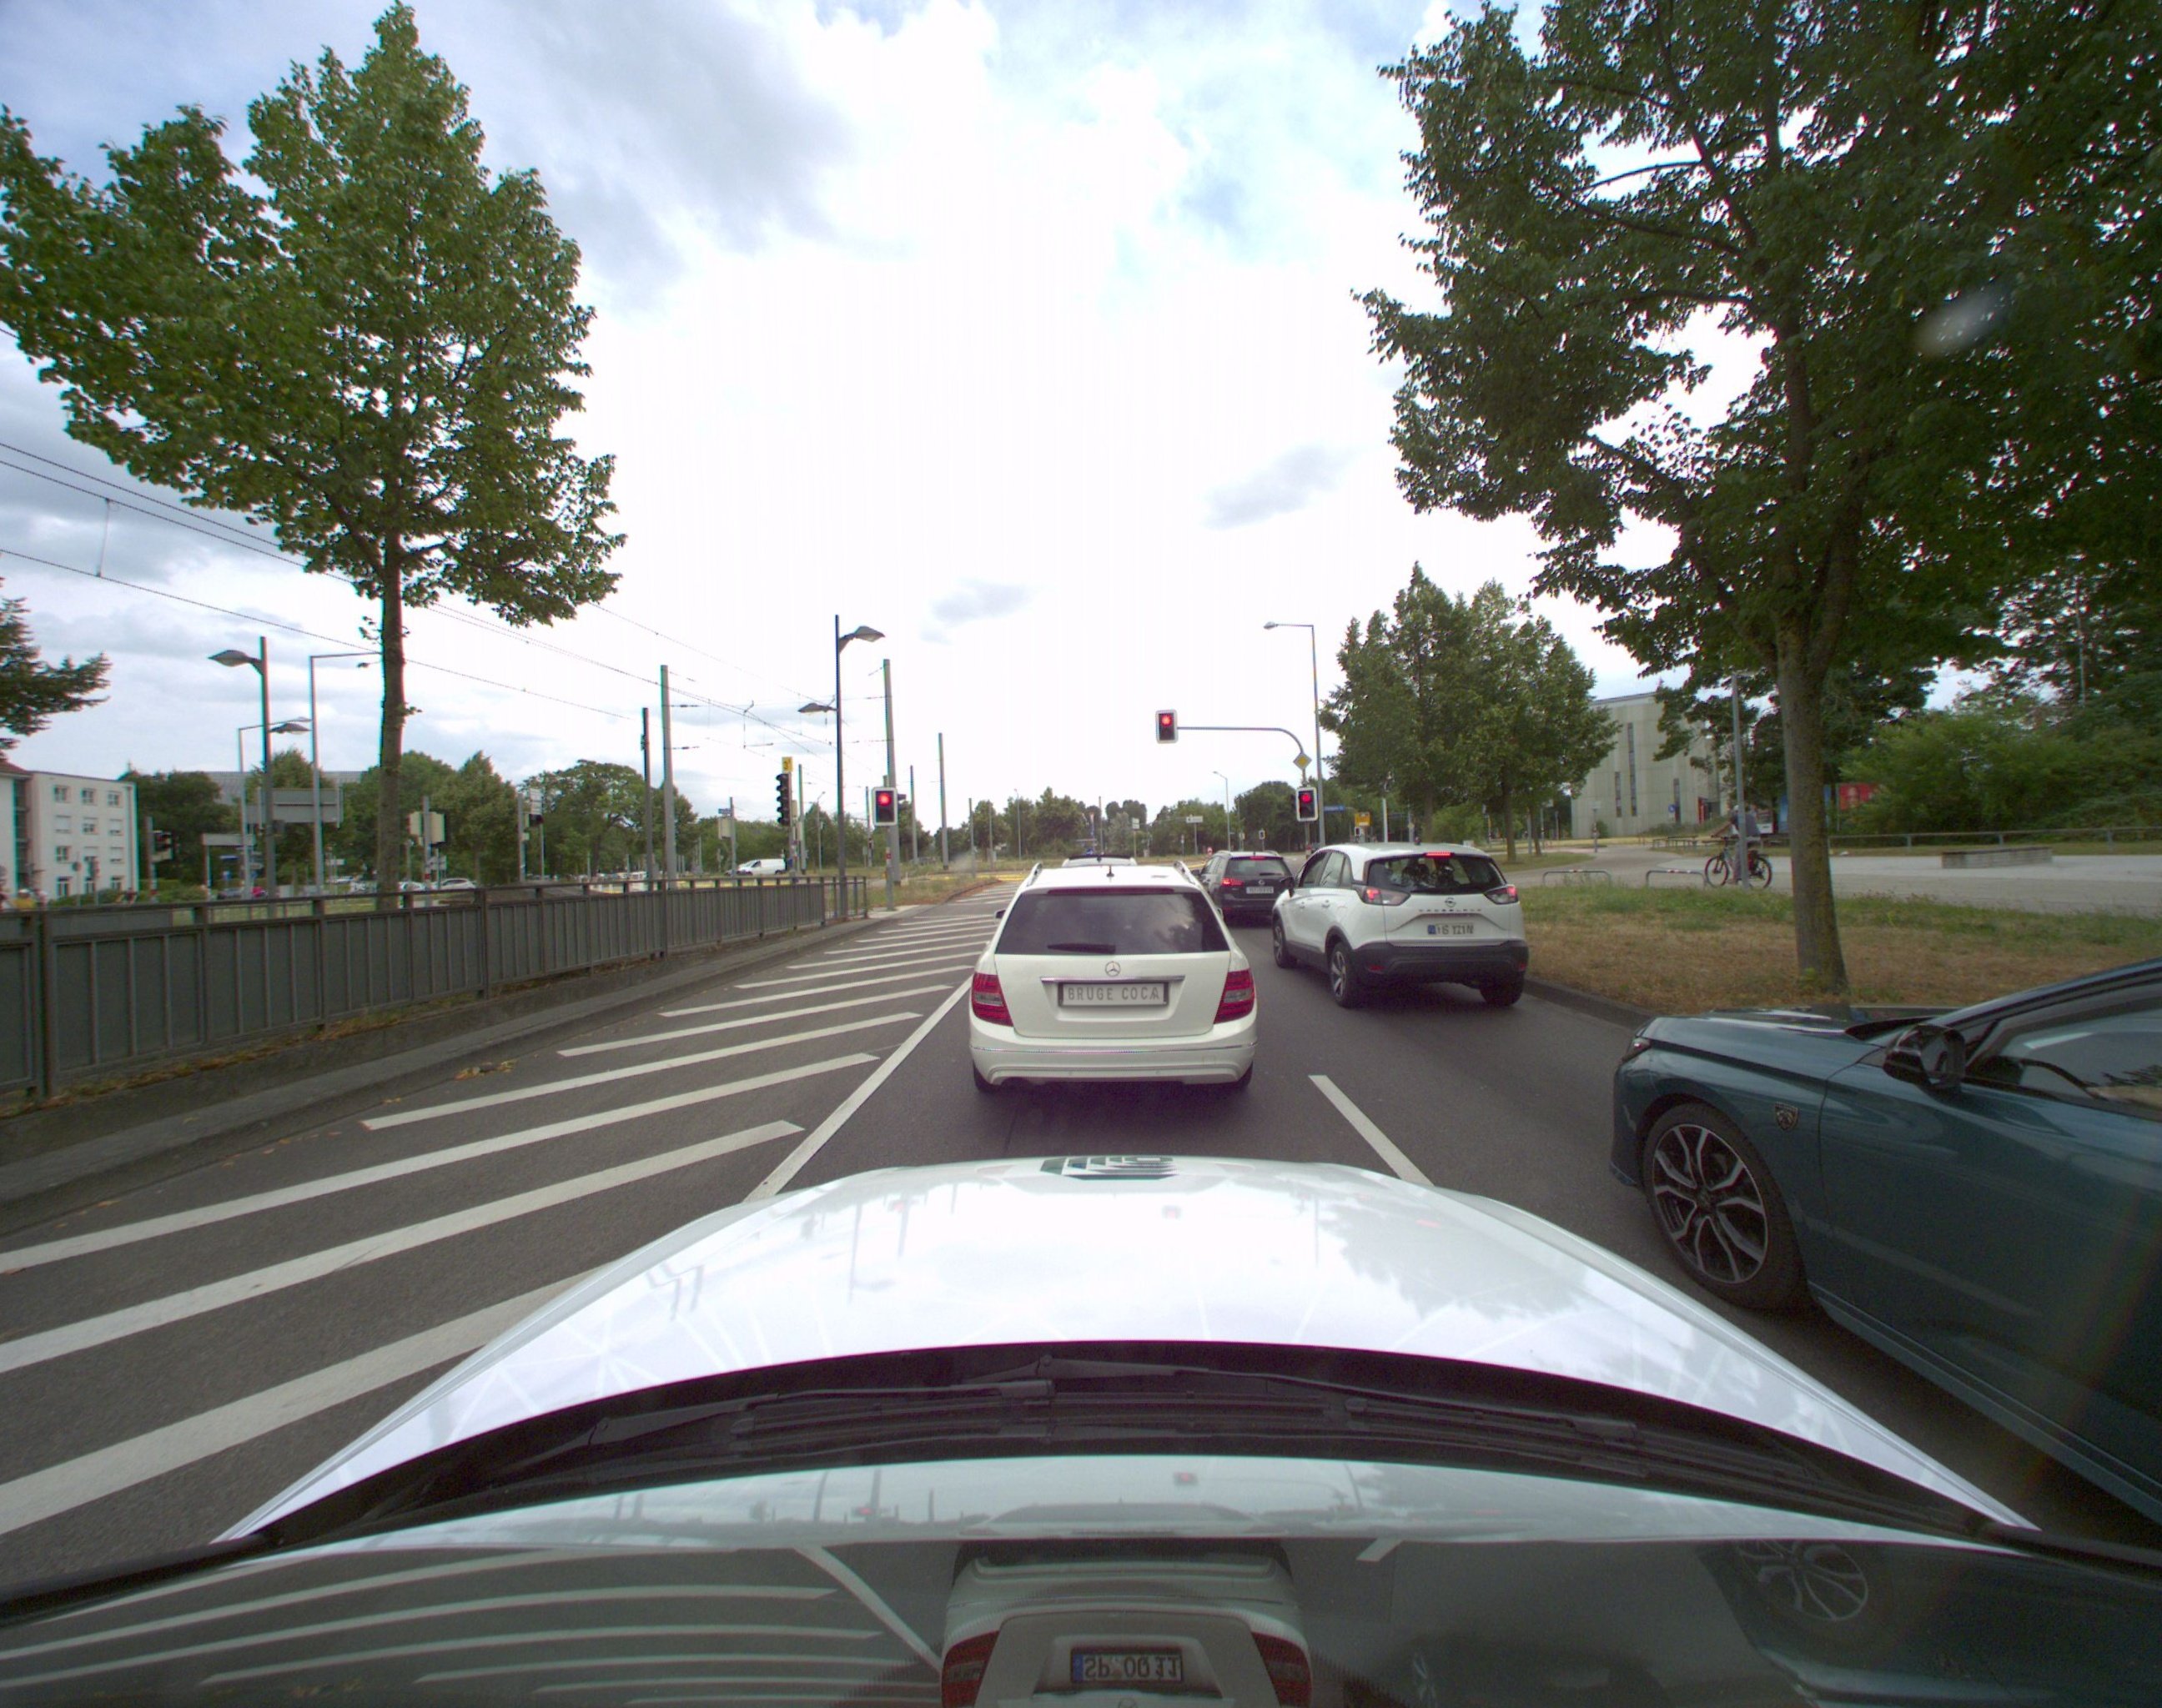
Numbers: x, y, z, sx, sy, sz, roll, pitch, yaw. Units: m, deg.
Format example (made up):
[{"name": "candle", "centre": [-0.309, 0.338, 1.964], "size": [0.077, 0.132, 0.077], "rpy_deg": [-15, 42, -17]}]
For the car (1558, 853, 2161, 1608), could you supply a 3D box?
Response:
[{"name": "car", "centre": [2.990, 0.739, 1.367], "size": [1.782, 1.432, 4.308], "rpy_deg": [-1, 0, -1]}]

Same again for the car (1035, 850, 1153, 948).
[{"name": "car", "centre": [0.204, 0.674, 14.276], "size": [1.768, 1.448, 3.910], "rpy_deg": [-1, 0, 0]}]

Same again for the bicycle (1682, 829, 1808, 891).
[{"name": "bicycle", "centre": [14.470, 0.119, 17.860], "size": [0.899, 1.235, 2.268], "rpy_deg": [-2, 0, 0]}]

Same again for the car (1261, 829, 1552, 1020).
[{"name": "car", "centre": [3.305, 0.614, 9.157], "size": [1.780, 1.624, 3.912], "rpy_deg": [-2, 0, 2]}]

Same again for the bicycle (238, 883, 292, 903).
[{"name": "bicycle", "centre": [-52.976, 2.520, 52.922], "size": [0.804, 1.129, 2.707], "rpy_deg": [-2, 0, -1]}]

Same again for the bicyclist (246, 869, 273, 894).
[{"name": "bicyclist", "centre": [-53.036, 1.756, 52.562], "size": [0.886, 1.562, 0.750], "rpy_deg": [-2, 0, -2]}]

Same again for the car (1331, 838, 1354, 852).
[{"name": "car", "centre": [31.719, -1.090, 98.759], "size": [1.766, 1.636, 4.429], "rpy_deg": [-2, 0, 28]}]

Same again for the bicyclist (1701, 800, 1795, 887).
[{"name": "bicyclist", "centre": [14.432, -0.225, 17.658], "size": [0.993, 1.737, 1.129], "rpy_deg": [-5, 0, 0]}]

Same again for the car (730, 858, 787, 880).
[{"name": "car", "centre": [-32.867, 1.511, 83.146], "size": [1.974, 2.013, 5.032], "rpy_deg": [-2, 0, 39]}]

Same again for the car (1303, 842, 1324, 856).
[{"name": "car", "centre": [30.731, -0.695, 107.573], "size": [1.975, 1.791, 4.024], "rpy_deg": [0, 0, 28]}]

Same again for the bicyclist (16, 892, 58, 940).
[{"name": "bicyclist", "centre": [-42.844, 2.531, 33.438], "size": [0.835, 1.834, 0.775], "rpy_deg": [-2, 0, -36]}]

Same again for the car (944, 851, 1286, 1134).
[{"name": "car", "centre": [0.181, 0.710, 6.198], "size": [1.768, 1.448, 3.910], "rpy_deg": [-1, 0, 0]}]

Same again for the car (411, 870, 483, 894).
[{"name": "car", "centre": [-50.024, 2.217, 64.339], "size": [1.974, 1.641, 4.026], "rpy_deg": [-2, 0, 33]}]

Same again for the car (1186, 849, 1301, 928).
[{"name": "car", "centre": [3.295, 0.635, 17.197], "size": [1.619, 1.448, 3.910], "rpy_deg": [-1, 0, 0]}]

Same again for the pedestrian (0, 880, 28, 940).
[{"name": "pedestrian", "centre": [-33.784, 1.771, 25.617], "size": [0.652, 1.850, 0.486], "rpy_deg": [-2, 0, -37]}]
